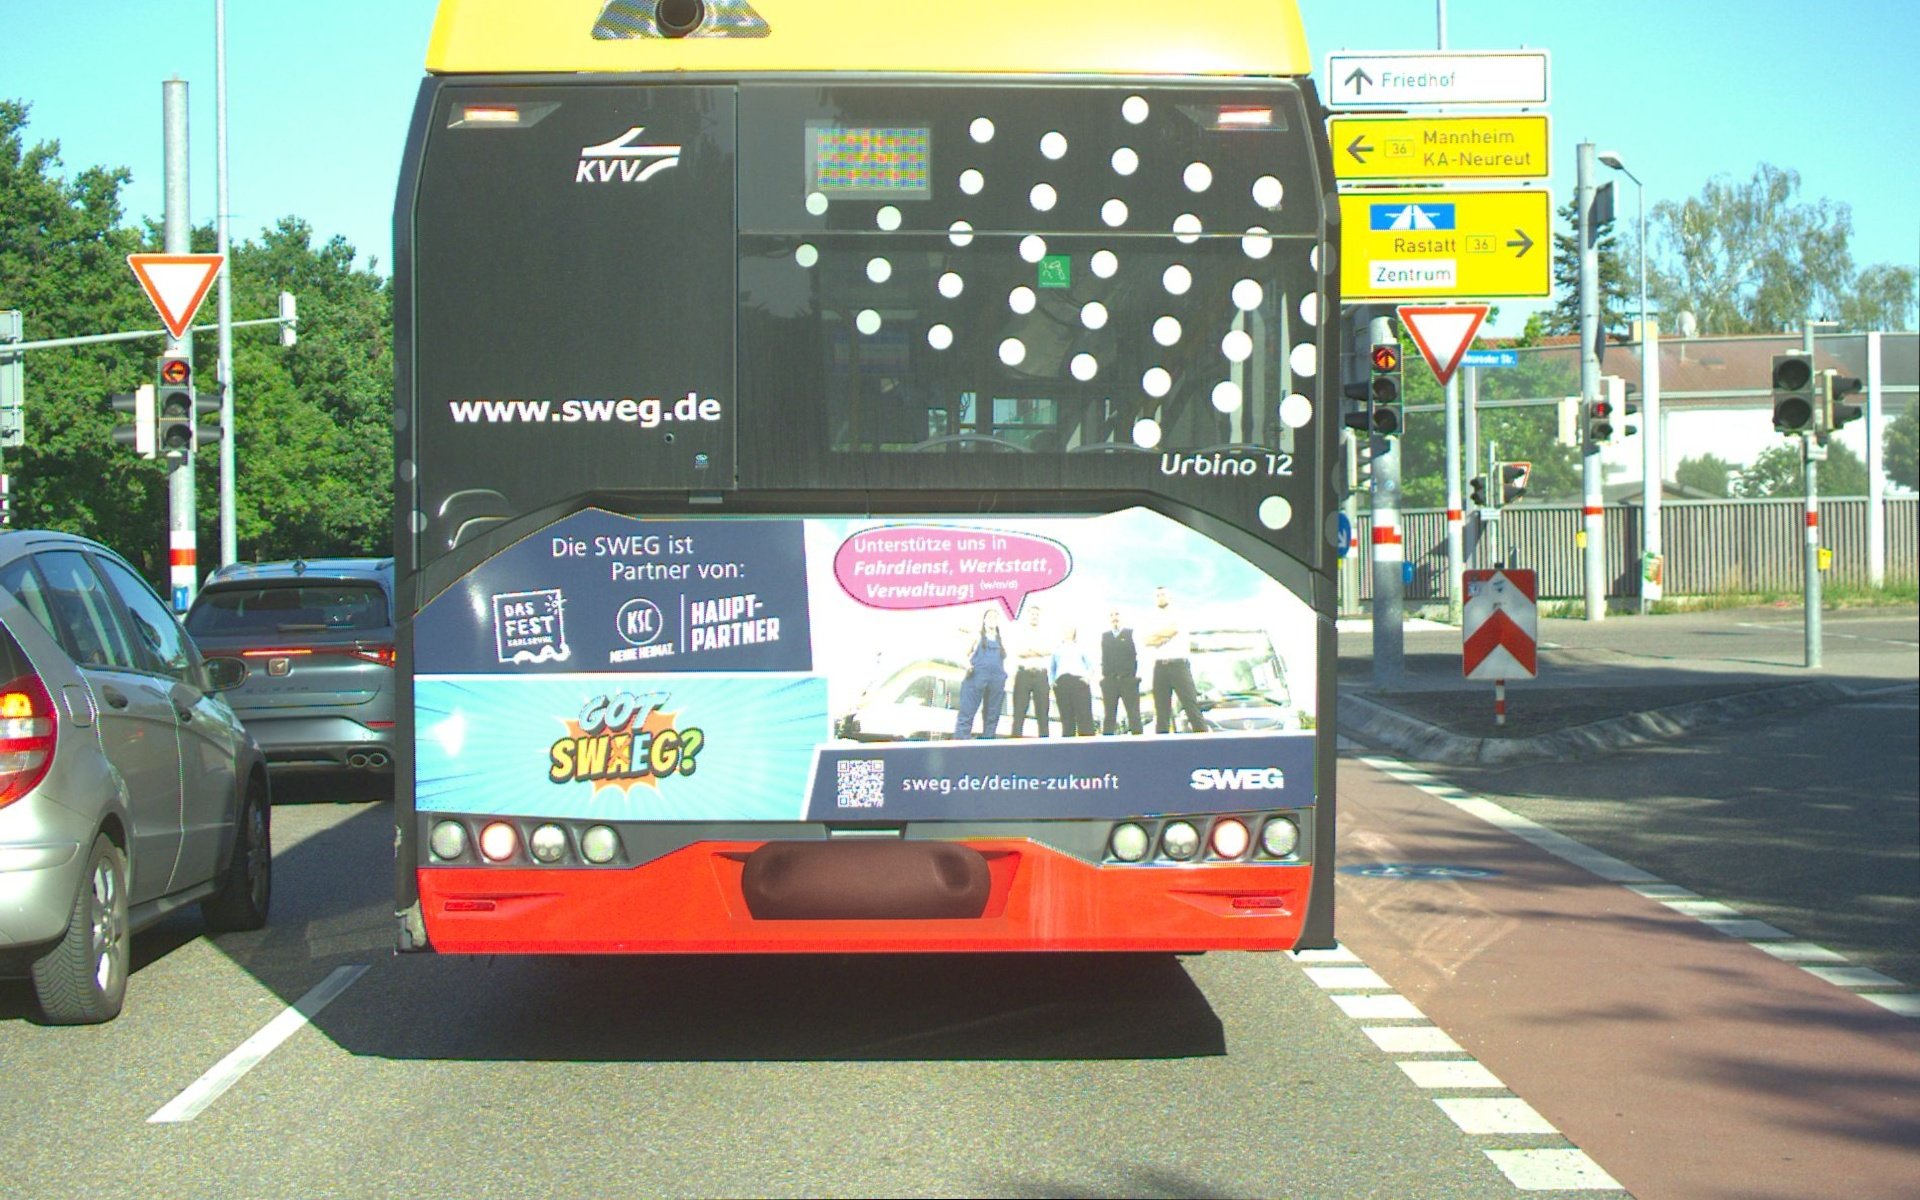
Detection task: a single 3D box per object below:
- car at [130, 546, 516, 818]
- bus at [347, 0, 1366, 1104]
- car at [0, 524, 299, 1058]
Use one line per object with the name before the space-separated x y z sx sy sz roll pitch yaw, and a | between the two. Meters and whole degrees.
car | -3.810 0.429 21.126 1.692 1.453 3.751 -2 1 -1
bus | -0.291 -0.403 14.893 2.642 3.156 11.861 0 1 0
car | -3.603 0.559 12.195 1.761 1.584 4.000 -2 1 -1
